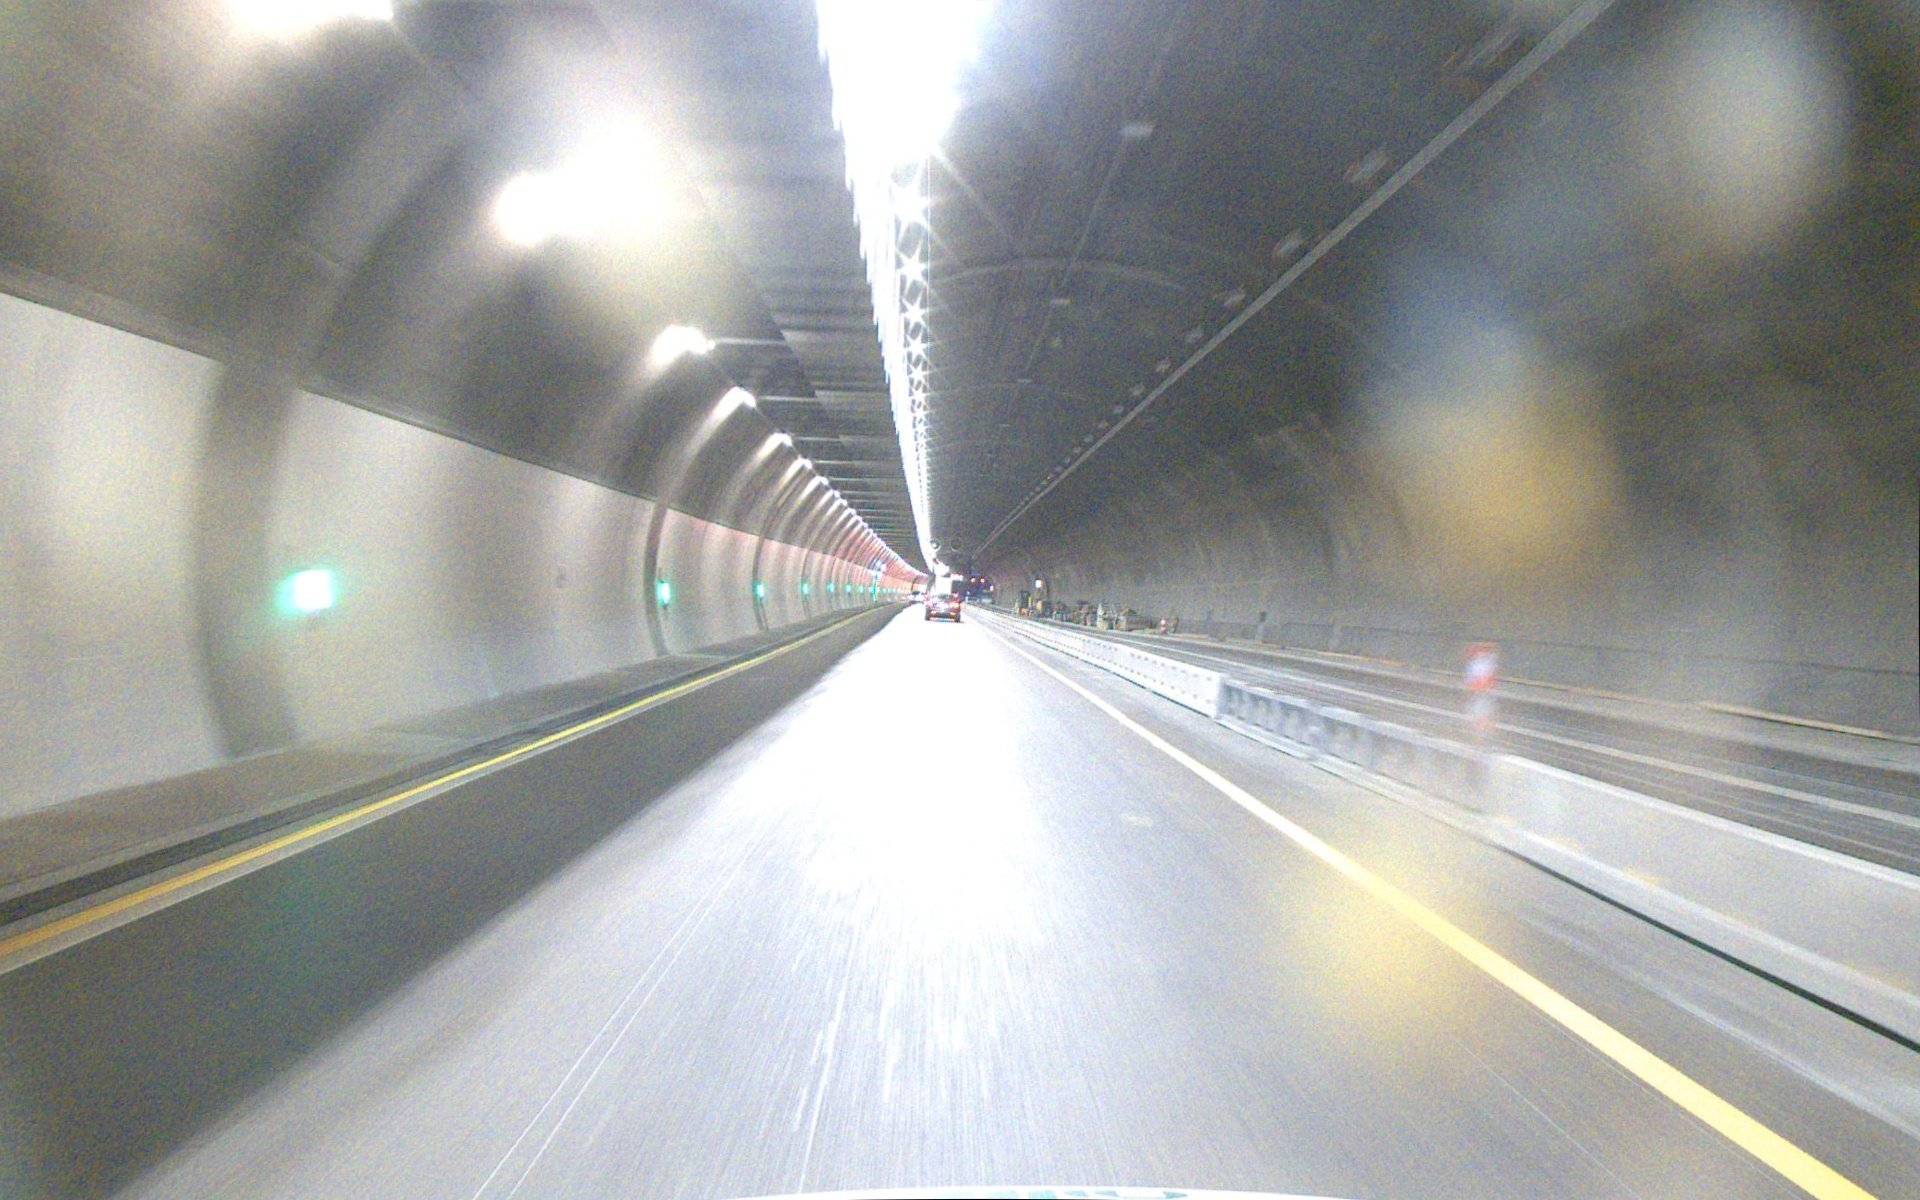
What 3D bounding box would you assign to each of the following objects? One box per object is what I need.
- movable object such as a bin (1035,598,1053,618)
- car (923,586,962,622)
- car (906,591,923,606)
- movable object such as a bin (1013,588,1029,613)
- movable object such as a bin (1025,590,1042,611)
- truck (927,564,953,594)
[{"bbox_3d":[6.612,0.634,130.861,1.210,1.467,2.216,2,0,-1],"label":"movable object such as a bin"},{"bbox_3d":[-0.943,0.180,86.281,1.907,1.826,3.999,1,0,-2],"label":"car"},{"bbox_3d":[-5.349,-0.157,196.035,1.891,1.716,4.000,1,0,0],"label":"car"},{"bbox_3d":[5.494,0.032,148.960,1.210,2.178,2.216,2,0,-1],"label":"movable object such as a bin"},{"bbox_3d":[6.315,0.073,142.191,1.210,1.748,2.216,2,0,-1],"label":"movable object such as a bin"},{"bbox_3d":[-3.202,-3.276,266.622,3.983,4.612,14.962,1,0,-1],"label":"truck"}]
